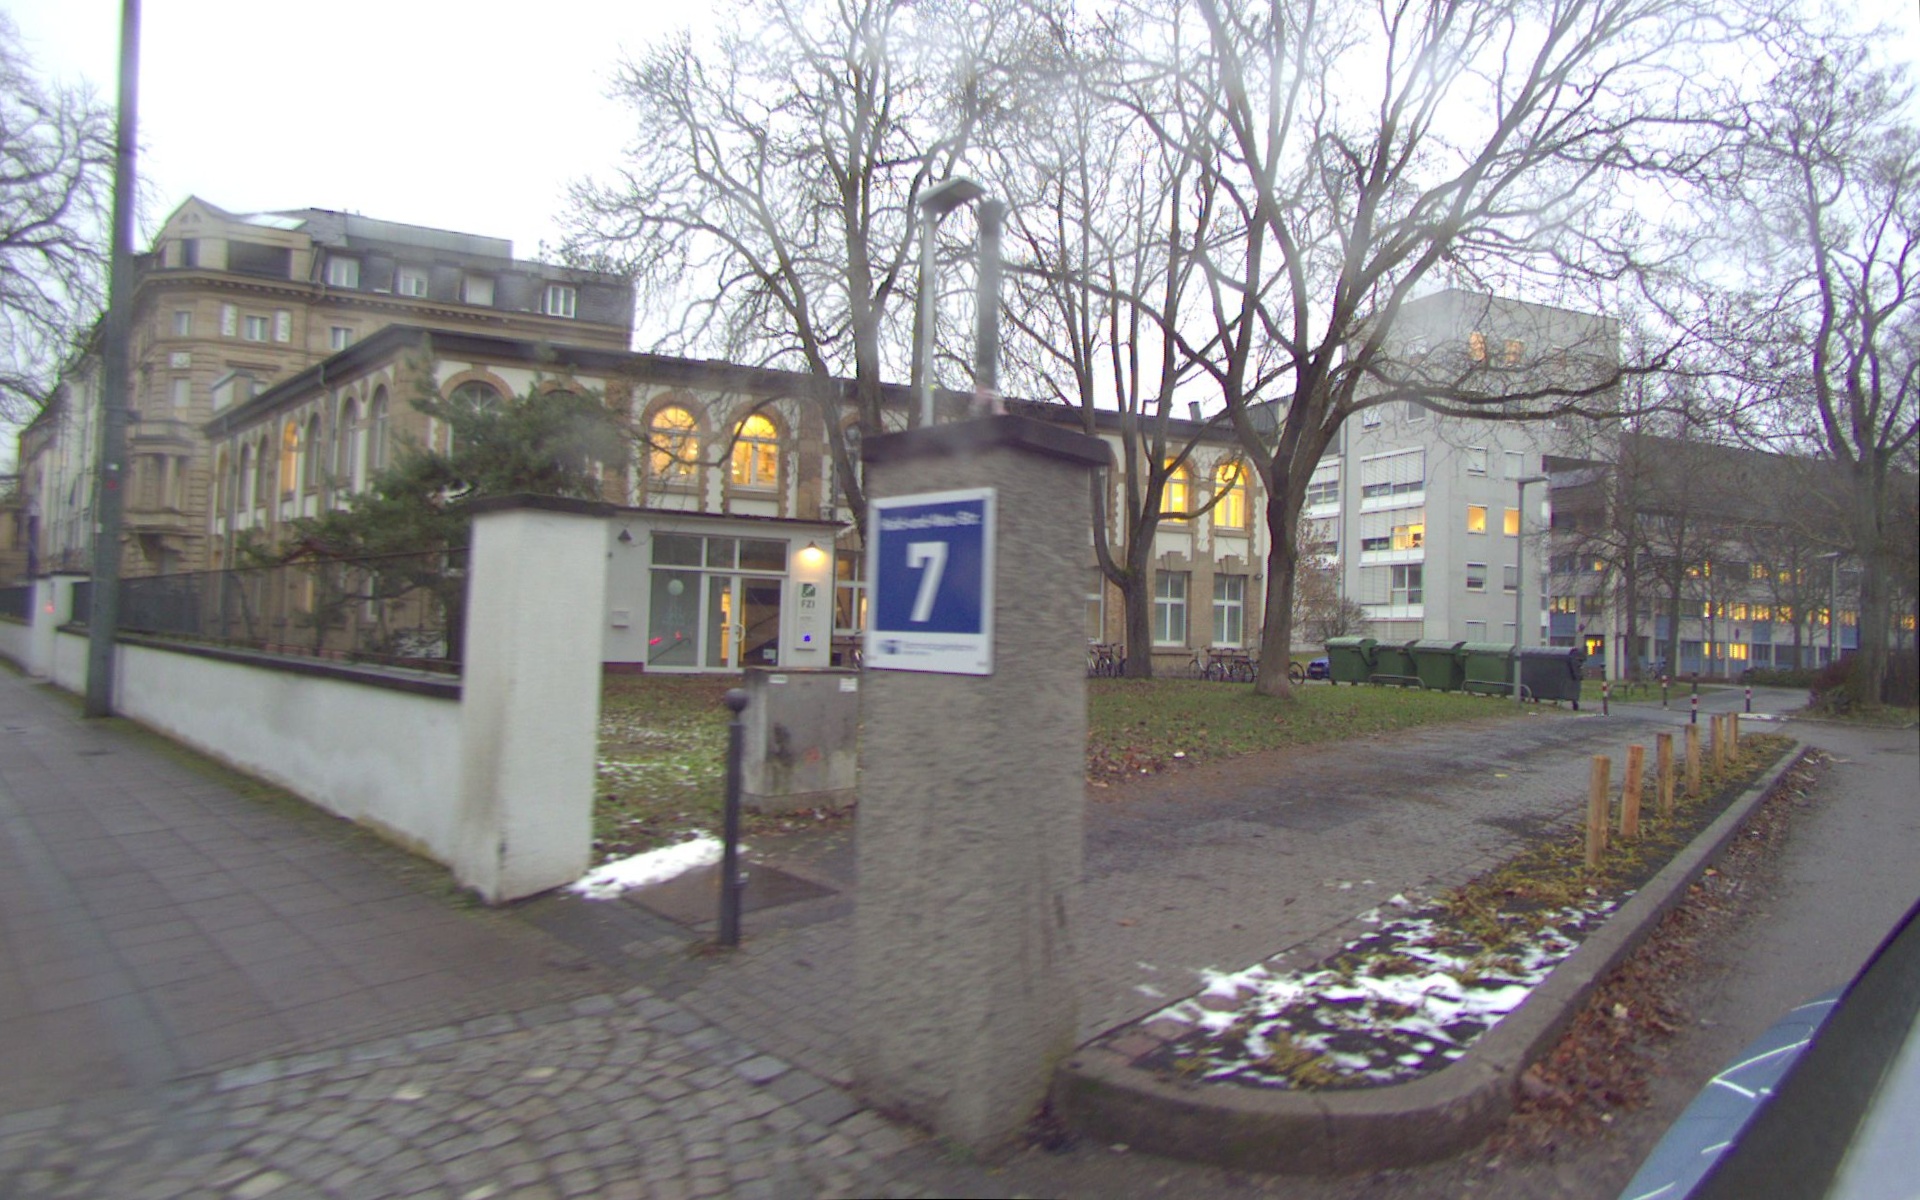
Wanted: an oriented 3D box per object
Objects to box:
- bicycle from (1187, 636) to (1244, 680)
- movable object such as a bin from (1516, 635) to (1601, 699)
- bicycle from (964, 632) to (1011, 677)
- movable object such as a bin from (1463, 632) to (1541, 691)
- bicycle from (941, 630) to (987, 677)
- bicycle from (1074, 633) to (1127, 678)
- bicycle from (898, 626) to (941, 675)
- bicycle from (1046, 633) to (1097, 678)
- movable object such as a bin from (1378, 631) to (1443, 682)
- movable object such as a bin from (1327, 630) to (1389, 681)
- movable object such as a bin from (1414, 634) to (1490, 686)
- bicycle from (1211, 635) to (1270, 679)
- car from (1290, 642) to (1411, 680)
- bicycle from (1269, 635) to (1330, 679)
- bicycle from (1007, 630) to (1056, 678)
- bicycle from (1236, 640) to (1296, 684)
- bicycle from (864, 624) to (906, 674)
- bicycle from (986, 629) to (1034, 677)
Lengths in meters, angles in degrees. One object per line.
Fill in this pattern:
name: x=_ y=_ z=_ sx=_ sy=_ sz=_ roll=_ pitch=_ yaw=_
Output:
bicycle: x=7.326 y=1.648 z=29.121 sx=0.561 sy=1.172 sz=2.146 roll=2 pitch=-1 yaw=-17
movable object such as a bin: x=13.560 y=1.491 z=22.955 sx=1.043 sy=1.333 sz=1.324 roll=2 pitch=0 yaw=-37
bicycle: x=0.696 y=1.418 z=26.792 sx=0.561 sy=1.029 sz=2.146 roll=2 pitch=1 yaw=-17
movable object such as a bin: x=12.987 y=1.464 z=24.266 sx=0.967 sy=1.331 sz=1.310 roll=2 pitch=-1 yaw=-24
bicycle: x=0.093 y=1.389 z=26.585 sx=0.561 sy=1.063 sz=2.146 roll=2 pitch=1 yaw=-17
bicycle: x=3.860 y=1.515 z=27.920 sx=0.561 sy=1.125 sz=2.146 roll=2 pitch=-1 yaw=-17
bicycle: x=-1.062 y=1.278 z=26.012 sx=0.561 sy=1.172 sz=2.146 roll=2 pitch=-1 yaw=-17
bicycle: x=3.021 y=1.496 z=27.610 sx=0.561 sy=1.106 sz=2.146 roll=2 pitch=-1 yaw=-17
movable object such as a bin: x=12.015 y=1.490 z=27.008 sx=0.967 sy=1.296 sz=1.254 roll=2 pitch=-1 yaw=-24
movable object such as a bin: x=11.115 y=1.541 z=28.285 sx=0.967 sy=1.331 sz=1.266 roll=2 pitch=-1 yaw=-24
movable object such as a bin: x=12.455 y=1.510 z=25.655 sx=0.967 sy=1.241 sz=1.440 roll=2 pitch=-1 yaw=-24
bicycle: x=8.139 y=1.647 z=29.437 sx=0.561 sy=1.172 sz=2.146 roll=2 pitch=-1 yaw=-17
car: x=15.142 y=2.351 z=39.297 sx=3.916 sy=1.297 sz=2.004 roll=2 pitch=-1 yaw=-14
bicycle: x=10.005 y=1.661 z=29.907 sx=0.561 sy=1.172 sz=2.146 roll=2 pitch=-1 yaw=-17
bicycle: x=1.888 y=1.420 z=27.172 sx=0.561 sy=1.172 sz=2.146 roll=2 pitch=-1 yaw=-17
bicycle: x=9.007 y=1.800 z=29.869 sx=0.561 sy=1.172 sz=2.146 roll=2 pitch=-1 yaw=-17
bicycle: x=-1.927 y=1.213 z=25.732 sx=0.561 sy=1.172 sz=2.146 roll=2 pitch=-1 yaw=-17
bicycle: x=1.313 y=1.380 z=26.980 sx=0.561 sy=1.172 sz=2.146 roll=2 pitch=-1 yaw=-17
